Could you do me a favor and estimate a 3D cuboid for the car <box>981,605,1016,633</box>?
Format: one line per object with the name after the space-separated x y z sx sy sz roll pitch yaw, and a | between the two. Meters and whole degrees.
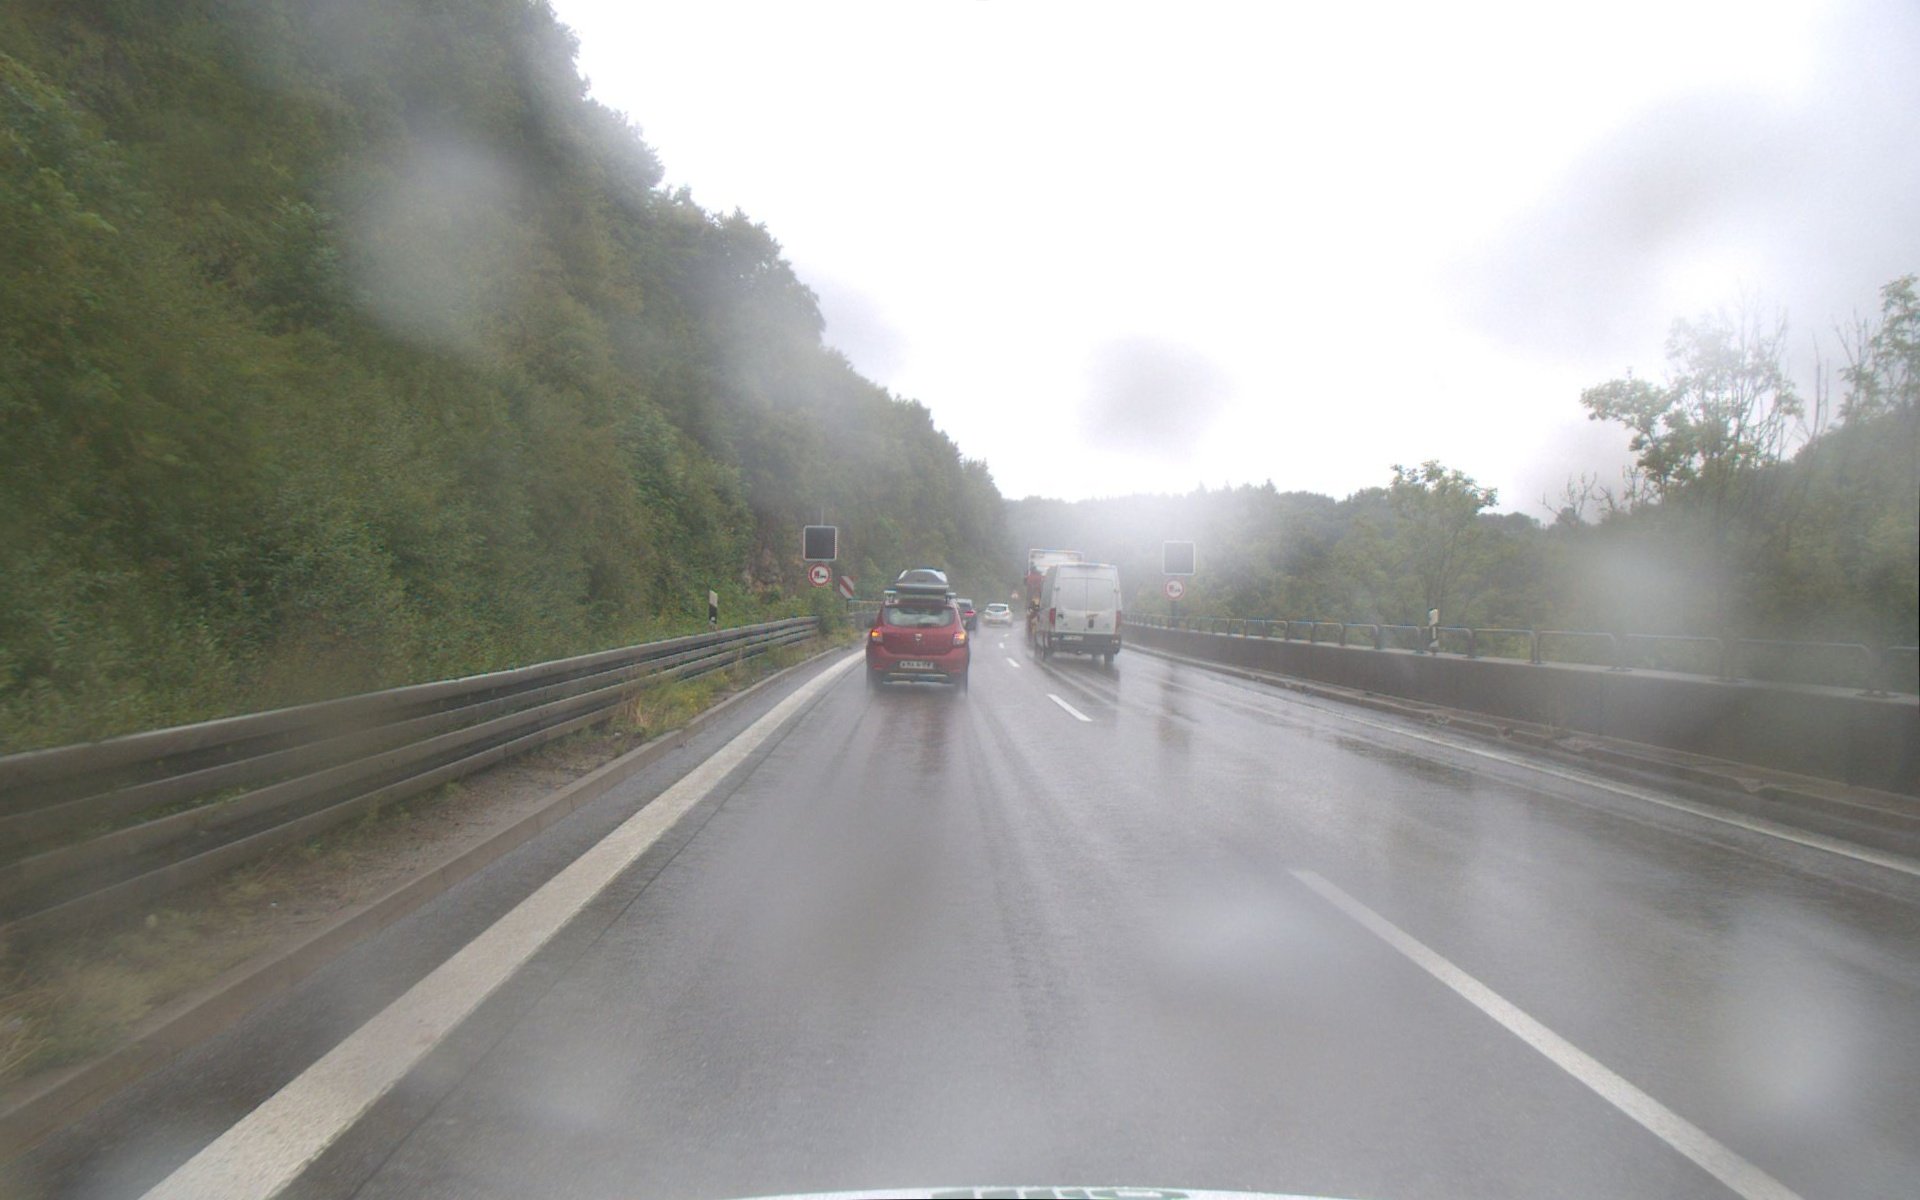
2.436 1.168 103.838 1.951 1.668 4.002 -1 -1 4 | car

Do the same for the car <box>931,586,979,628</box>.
-0.195 0.327 72.222 1.835 1.736 3.890 -1 -1 4 | car

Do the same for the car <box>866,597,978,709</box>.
-0.633 0.859 28.074 1.722 1.714 3.999 -1 -1 -1 | car

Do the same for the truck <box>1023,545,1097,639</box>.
4.480 -0.320 74.783 3.152 4.048 5.440 1 0 2 | truck

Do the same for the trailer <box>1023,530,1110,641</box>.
4.198 -0.511 67.732 3.151 4.069 13.527 1 0 2 | trailer

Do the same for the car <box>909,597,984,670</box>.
-0.314 0.839 42.107 1.795 1.745 3.645 -1 -1 0 | car

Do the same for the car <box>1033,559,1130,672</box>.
3.318 0.405 46.572 2.161 2.843 7.382 2 0 0 | car
